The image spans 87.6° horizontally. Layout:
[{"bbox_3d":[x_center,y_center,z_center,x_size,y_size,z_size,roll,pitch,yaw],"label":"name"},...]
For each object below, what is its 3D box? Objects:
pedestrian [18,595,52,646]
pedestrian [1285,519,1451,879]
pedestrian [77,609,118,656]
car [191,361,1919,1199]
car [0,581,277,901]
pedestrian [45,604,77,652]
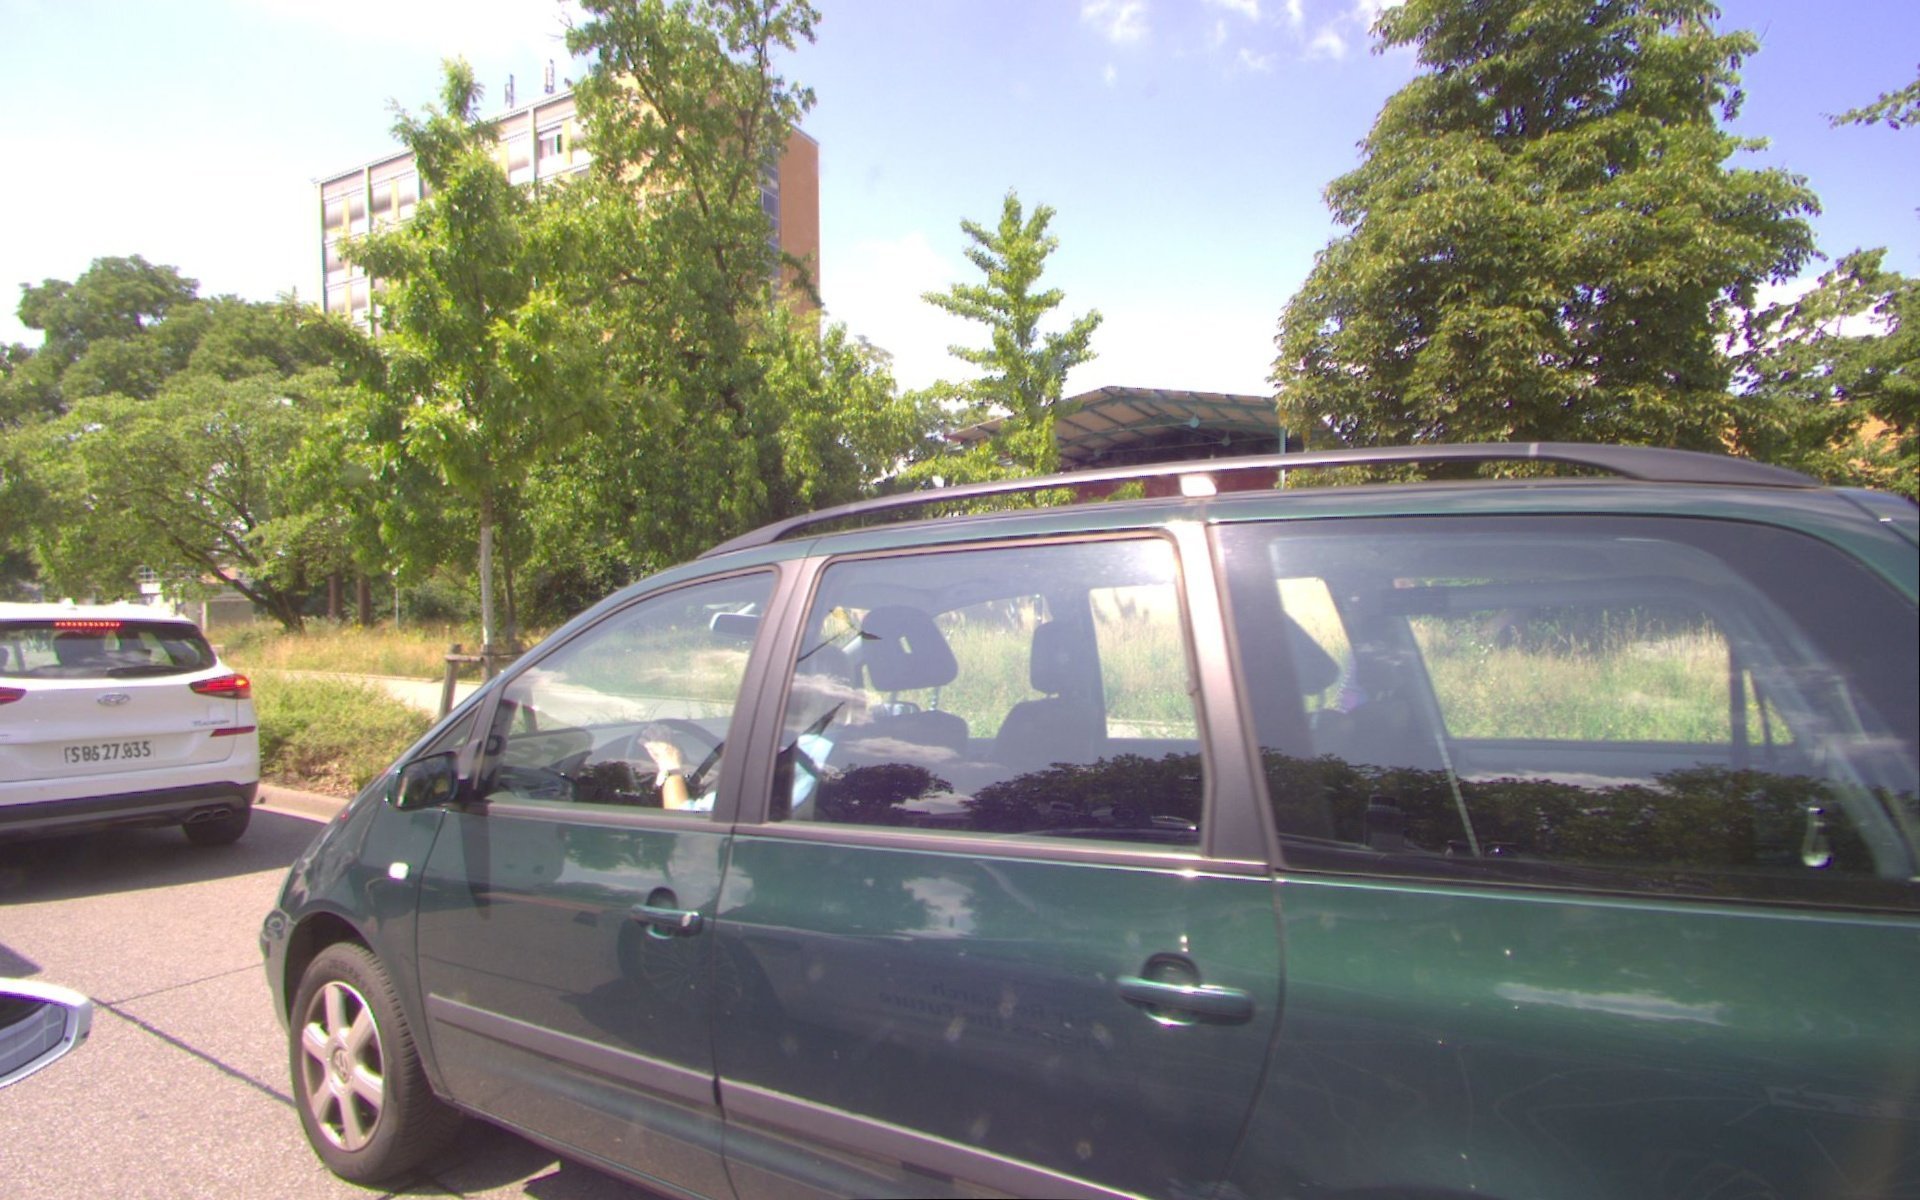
[{"bbox_3d":[-38.529,0.850,41.712,0.730,2.085,0.843,0,0,31],"label":"pedestrian"},{"bbox_3d":[2.434,0.536,5.938,0.762,1.917,0.948,0,0,32],"label":"pedestrian"},{"bbox_3d":[-29.331,1.099,34.046,0.823,1.559,0.843,0,0,32],"label":"pedestrian"},{"bbox_3d":[-0.037,0.676,2.658,4.325,1.757,1.809,0,-1,32],"label":"car"},{"bbox_3d":[-6.525,0.770,6.831,3.945,1.710,1.793,0,0,34],"label":"car"},{"bbox_3d":[-38.361,1.194,42.746,0.730,2.040,0.843,0,0,32],"label":"pedestrian"}]
